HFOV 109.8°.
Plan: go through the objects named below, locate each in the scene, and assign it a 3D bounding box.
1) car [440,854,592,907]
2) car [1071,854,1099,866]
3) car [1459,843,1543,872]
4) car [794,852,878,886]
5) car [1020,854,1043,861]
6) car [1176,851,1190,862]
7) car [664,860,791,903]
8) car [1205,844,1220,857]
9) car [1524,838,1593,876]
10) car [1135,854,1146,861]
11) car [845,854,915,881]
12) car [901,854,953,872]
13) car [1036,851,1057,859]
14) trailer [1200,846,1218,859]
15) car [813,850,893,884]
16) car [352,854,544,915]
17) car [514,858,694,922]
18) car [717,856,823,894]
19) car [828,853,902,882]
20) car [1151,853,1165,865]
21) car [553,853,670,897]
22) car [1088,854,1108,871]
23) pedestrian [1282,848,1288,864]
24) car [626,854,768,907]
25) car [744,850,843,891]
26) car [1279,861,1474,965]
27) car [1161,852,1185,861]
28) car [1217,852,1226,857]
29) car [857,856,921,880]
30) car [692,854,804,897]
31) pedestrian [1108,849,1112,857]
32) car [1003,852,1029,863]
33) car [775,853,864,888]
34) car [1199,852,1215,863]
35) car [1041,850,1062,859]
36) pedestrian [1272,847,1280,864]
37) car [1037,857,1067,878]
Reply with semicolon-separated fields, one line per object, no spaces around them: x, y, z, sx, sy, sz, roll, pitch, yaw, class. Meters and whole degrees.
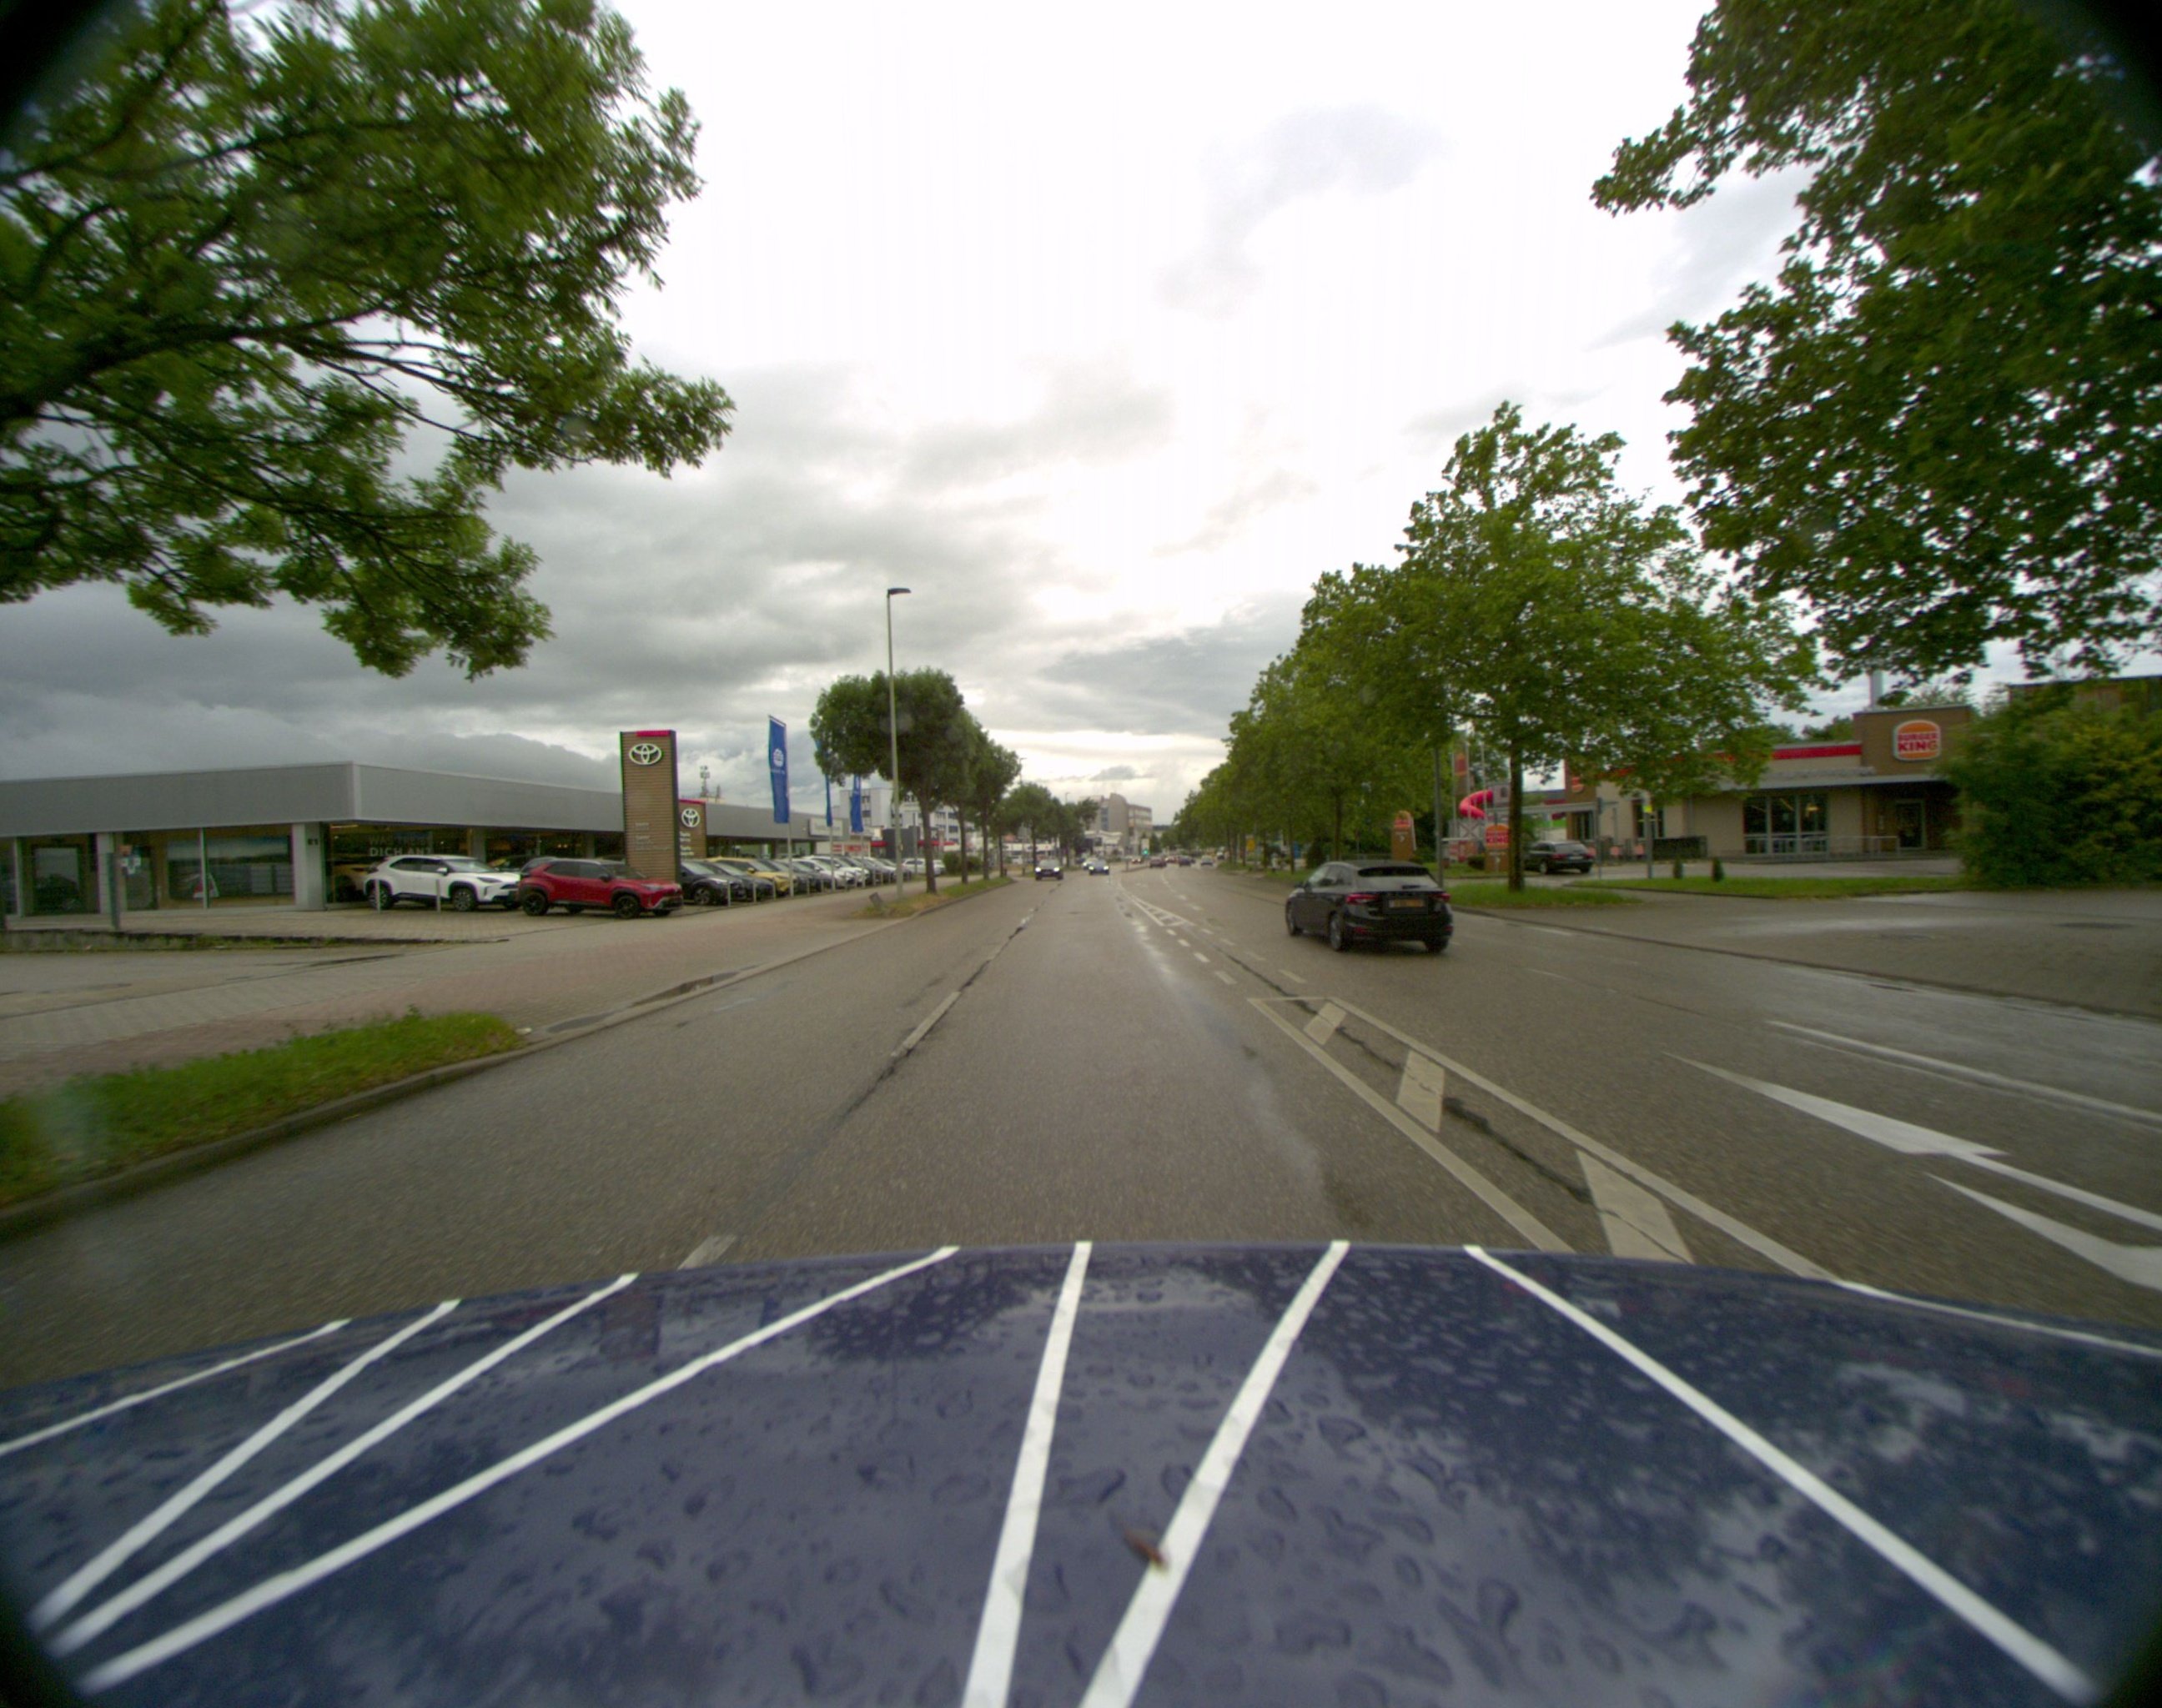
-18.777;0.816;25.511;1.878;1.612;4.123;0;0;3;car
0.522;0.834;105.347;1.896;1.544;4.007;0;2;36;car
19.944;0.161;36.143;3.181;1.148;1.291;-4;0;10;car
-13.641;0.828;42.384;3.997;1.578;1.812;4;0;1;car
-10.483;0.761;161.007;4.366;1.385;1.826;-1;0;18;car
15.782;0.400;117.229;1.997;1.499;4.734;-1;-1;8;car
-13.429;1.022;29.020;3.996;1.529;1.800;-1;0;2;car
27.776;-0.722;160.329;2.242;2.459;5.023;-3;-1;19;car
20.933;0.094;33.427;1.436;1.419;3.192;-3;2;10;car
12.410;0.757;157.942;1.752;1.455;4.004;-1;0;12;car
-13.098;0.853;49.681;3.995;1.534;1.813;3;1;4;car
-13.670;0.805;67.421;4.058;1.588;1.988;0;1;23;car
-7.733;0.198;171.539;4.366;1.753;1.899;-1;0;18;car
26.433;-0.315;156.366;2.306;2.459;7.983;-3;-1;19;trailer
-13.358;0.742;44.657;3.995;1.776;1.812;3;1;4;car
-18.038;0.829;21.757;4.117;1.612;1.881;0;0;6;car
-13.121;0.956;21.049;3.850;1.594;1.795;1;0;2;car
-13.888;0.919;34.069;3.995;1.538;1.711;2;0;4;car
-13.422;0.834;47.283;3.995;1.575;1.813;3;1;4;car
11.021;0.664;108.470;1.815;1.553;4.600;-1;1;8;car
-18.251;0.767;29.810;1.878;1.612;4.123;0;0;3;car
1.619;0.806;73.457;1.800;1.623;4.551;-1;0;1;car
21.307;0.251;79.274;0.513;1.673;0.540;-1;0;4;pedestrian
-13.287;0.885;26.437;3.996;1.637;1.845;2;0;3;car
-13.728;0.779;36.446;3.995;1.776;1.812;2;0;4;car
4.774;0.869;12.915;1.808;1.454;3.845;0;0;0;car
17.155;0.496;141.752;4.002;1.532;1.812;-2;2;-14;car
37.713;0.077;203.733;1.785;1.396;4.005;-1;0;19;car
-13.115;0.921;52.137;3.842;1.453;1.828;3;0;2;car
-13.766;0.875;31.519;3.848;1.557;1.666;2;0;-1;car
6.464;-0.198;167.294;0.700;1.701;0.698;-1;0;19;pedestrian
-13.057;0.710;152.913;4.777;2.002;2.003;-1;0;19;car
-13.666;0.858;39.862;3.995;1.776;1.813;0;0;4;car
19.131;0.560;115.769;1.932;1.610;4.399;-1;1;4;car
-6.656;0.058;173.742;4.366;1.895;1.899;-1;0;18;car
20.284;0.183;79.065;0.665;1.756;0.584;-2;0;25;pedestrian
-2.164;0.991;57.842;1.900;1.544;4.593;-1;0;2;car
